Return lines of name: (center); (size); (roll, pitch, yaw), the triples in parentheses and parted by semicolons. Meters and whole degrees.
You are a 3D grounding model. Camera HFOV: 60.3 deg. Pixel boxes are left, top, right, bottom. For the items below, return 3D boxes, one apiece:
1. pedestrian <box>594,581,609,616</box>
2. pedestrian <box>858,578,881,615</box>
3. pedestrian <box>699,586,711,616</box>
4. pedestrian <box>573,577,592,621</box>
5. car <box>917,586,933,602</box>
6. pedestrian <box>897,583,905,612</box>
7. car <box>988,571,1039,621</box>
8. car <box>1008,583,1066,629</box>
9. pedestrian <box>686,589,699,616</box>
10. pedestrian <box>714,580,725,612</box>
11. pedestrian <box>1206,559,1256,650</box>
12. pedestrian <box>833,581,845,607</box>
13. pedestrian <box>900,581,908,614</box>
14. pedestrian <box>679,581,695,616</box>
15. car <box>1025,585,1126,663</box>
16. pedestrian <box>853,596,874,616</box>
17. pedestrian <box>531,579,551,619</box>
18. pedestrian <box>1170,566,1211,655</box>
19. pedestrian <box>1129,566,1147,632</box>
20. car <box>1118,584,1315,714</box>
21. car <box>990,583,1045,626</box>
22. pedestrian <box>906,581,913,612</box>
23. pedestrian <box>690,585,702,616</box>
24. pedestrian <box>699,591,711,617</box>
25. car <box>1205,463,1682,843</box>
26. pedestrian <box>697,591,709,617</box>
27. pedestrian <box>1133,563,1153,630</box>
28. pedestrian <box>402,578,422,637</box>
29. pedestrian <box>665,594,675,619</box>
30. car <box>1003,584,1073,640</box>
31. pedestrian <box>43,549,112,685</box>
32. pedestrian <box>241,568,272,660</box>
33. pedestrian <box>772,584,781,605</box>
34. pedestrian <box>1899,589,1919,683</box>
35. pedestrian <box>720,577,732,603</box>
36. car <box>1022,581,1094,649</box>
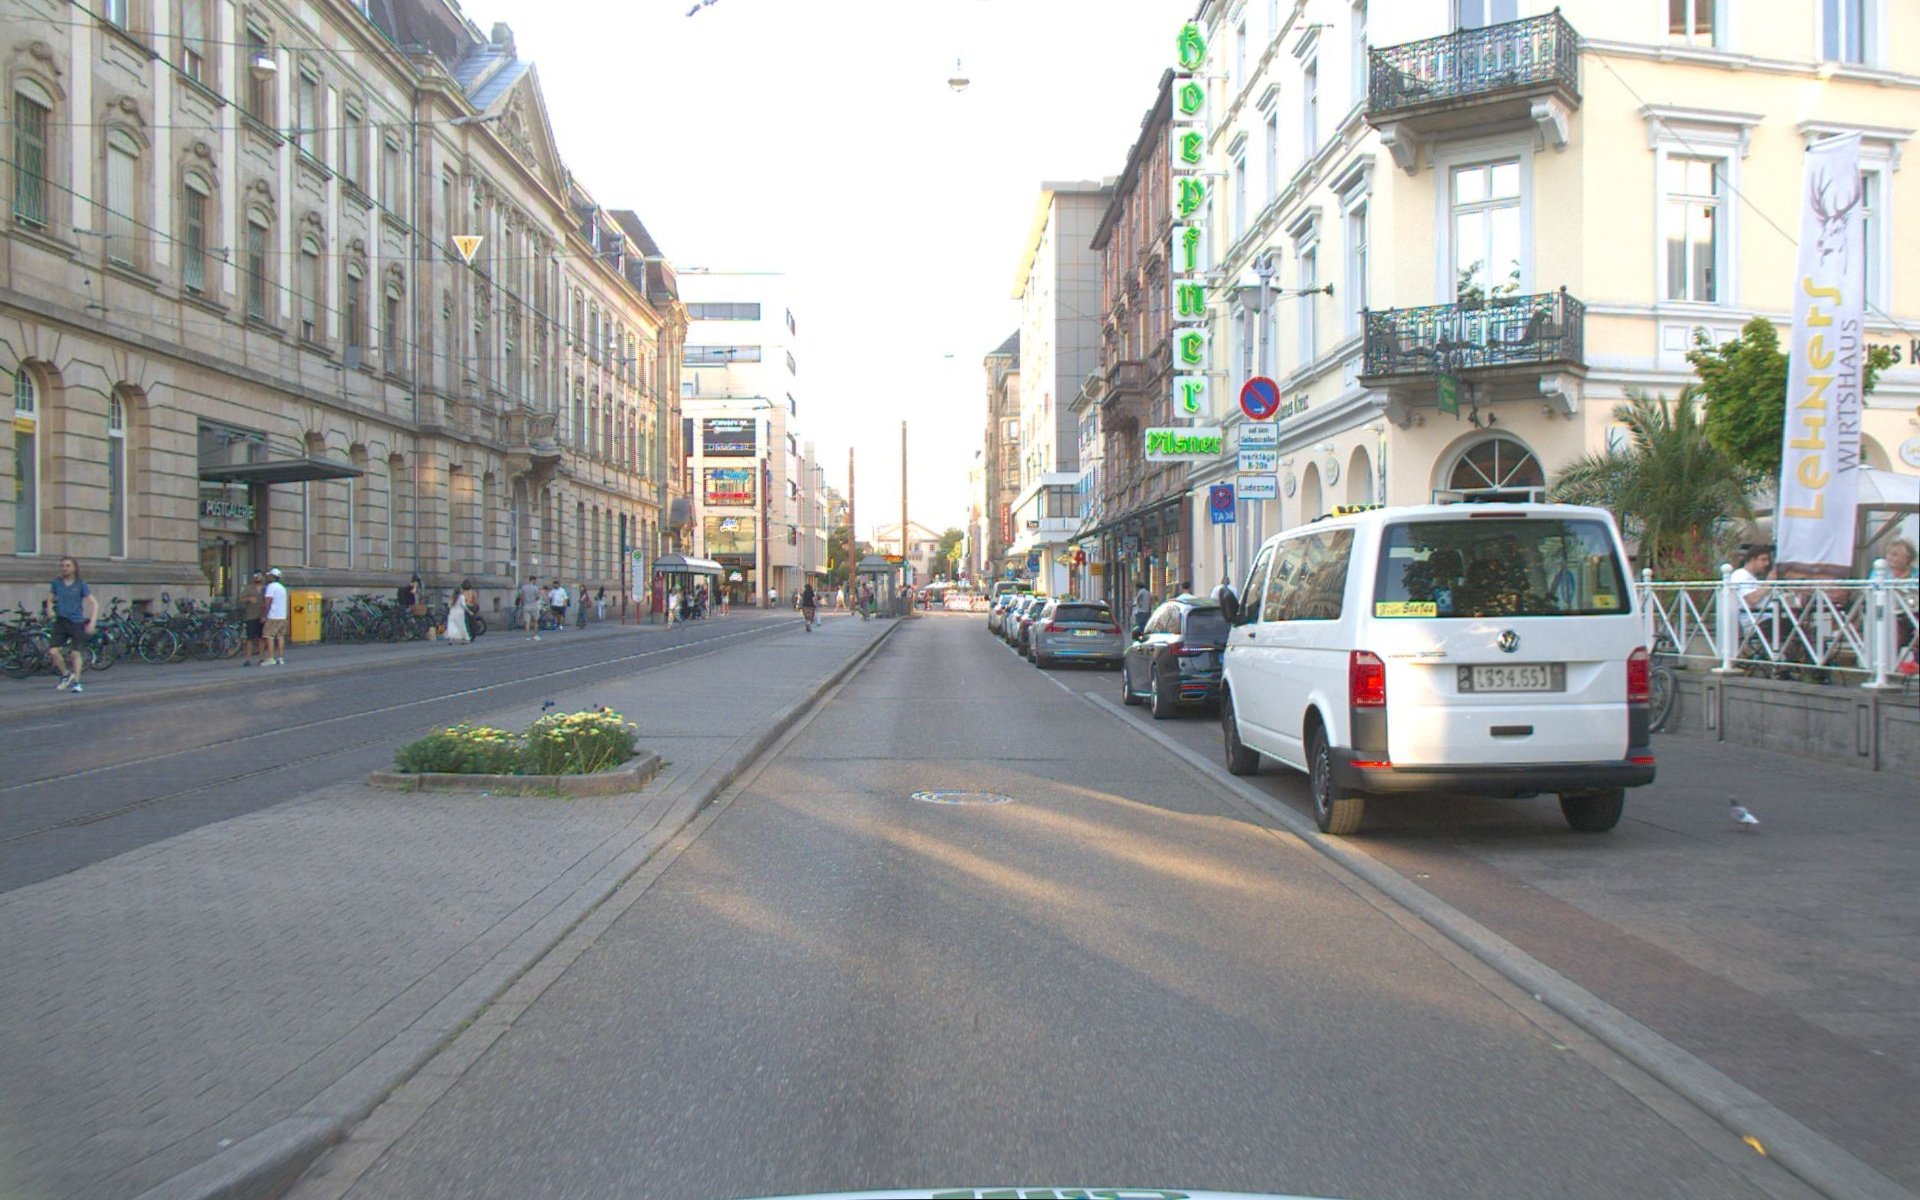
pedestrian: (-16.461, -0.069, 75.940); (0.648, 1.589, 0.677); (0, 0, -15)
pedestrian: (-4.088, -0.169, 74.773); (0.675, 1.666, 0.857); (0, 0, 39)
pedestrian: (-13.685, 0.062, 88.652); (0.507, 1.597, 0.638); (0, -1, 2)
pedestrian: (-14.192, -0.045, 62.194); (0.558, 1.633, 0.441); (1, -1, 6)
car: (-4.451, -0.764, 208.351); (1.953, 1.937, 3.998); (1, 0, -2)
pedestrian: (-3.371, -0.141, 94.341); (0.378, 1.670, 0.549); (1, -1, -3)
car: (2.221, -0.159, 69.621); (1.839, 1.957, 4.698); (2, 0, -1)
car: (2.638, 0.200, 57.570); (1.691, 1.503, 4.819); (1, 0, -1)
pedestrian: (-13.144, 0.122, 81.354); (0.507, 1.350, 0.638); (0, -1, 2)
pedestrian: (-13.344, -0.215, 91.749); (0.548, 1.807, 0.468); (0, 0, -5)
pedestrian: (5.393, 0.085, 32.862); (0.744, 1.718, 0.551); (-4, 0, 23)
pedestrian: (-8.575, -0.406, 117.146); (0.684, 1.847, 0.853); (1, 0, 9)
pedestrian: (-3.093, -0.136, 91.337); (0.404, 1.798, 0.594); (1, -1, -3)
pedestrian: (-13.062, -0.070, 79.042); (0.507, 1.679, 0.638); (0, -1, 21)
car: (2.468, 0.479, 36.326); (1.769, 1.501, 4.692); (1, 1, -1)
pedestrian: (-4.672, 0.287, 79.800); (0.781, 0.955, 0.693); (0, 0, 22)
pedestrian: (-15.511, -0.026, 61.198); (0.432, 1.465, 0.570); (1, -1, 35)
pedestrian: (4.609, 0.206, 33.100); (0.606, 1.718, 0.486); (-4, 0, 20)
pedestrian: (4.925, -0.032, 45.726); (0.365, 1.799, 0.455); (-2, 0, -5)
car: (3.103, 0.554, 20.868); (1.662, 1.414, 4.546); (-1, 0, -1)
car: (2.153, 0.126, 62.783); (1.769, 1.509, 4.777); (2, 1, -1)
pedestrian: (-2.974, -0.199, 97.173); (0.335, 1.827, 0.544); (1, -1, -3)
pedestrian: (-14.011, 0.036, 87.878); (0.507, 1.674, 0.638); (0, -1, 2)
pedestrian: (-13.072, 0.201, 84.734); (0.507, 1.350, 0.638); (0, -1, 2)
car: (3.099, 0.293, 11.885); (1.815, 2.103, 5.214); (-1, 0, -1)
pedestrian: (-13.056, 0.198, 83.966); (0.507, 1.350, 0.638); (0, -1, 2)
pedestrian: (5.003, -0.106, 45.257); (0.365, 1.799, 0.663); (-2, 0, -5)
pedestrian: (-15.417, 0.212, 46.553); (0.357, 1.662, 0.430); (1, -1, 5)
pedestrian: (-13.047, 0.295, 74.448); (0.357, 1.122, 0.430); (1, -1, 5)
car: (2.291, 0.341, 49.568); (1.697, 1.537, 4.863); (2, 0, -1)
pedestrian: (-11.713, 0.223, 21.961); (0.667, 1.766, 0.481); (-2, 0, -15)
pedestrian: (-13.198, 0.261, 31.023); (0.368, 1.702, 0.493); (1, -1, -7)
pedestrian: (-16.618, -0.494, 149.651); (0.560, 1.887, 0.817); (1, -1, 11)
pedestrian: (13.552, 0.498, 23.116); (0.584, 1.303, 0.489); (0, 0, -14)
pedestrian: (-14.198, -0.618, 100.364); (0.521, 1.552, 0.496); (0, 0, -36)
car: (2.496, 0.379, 43.062); (1.697, 1.618, 4.443); (2, 0, 2)
